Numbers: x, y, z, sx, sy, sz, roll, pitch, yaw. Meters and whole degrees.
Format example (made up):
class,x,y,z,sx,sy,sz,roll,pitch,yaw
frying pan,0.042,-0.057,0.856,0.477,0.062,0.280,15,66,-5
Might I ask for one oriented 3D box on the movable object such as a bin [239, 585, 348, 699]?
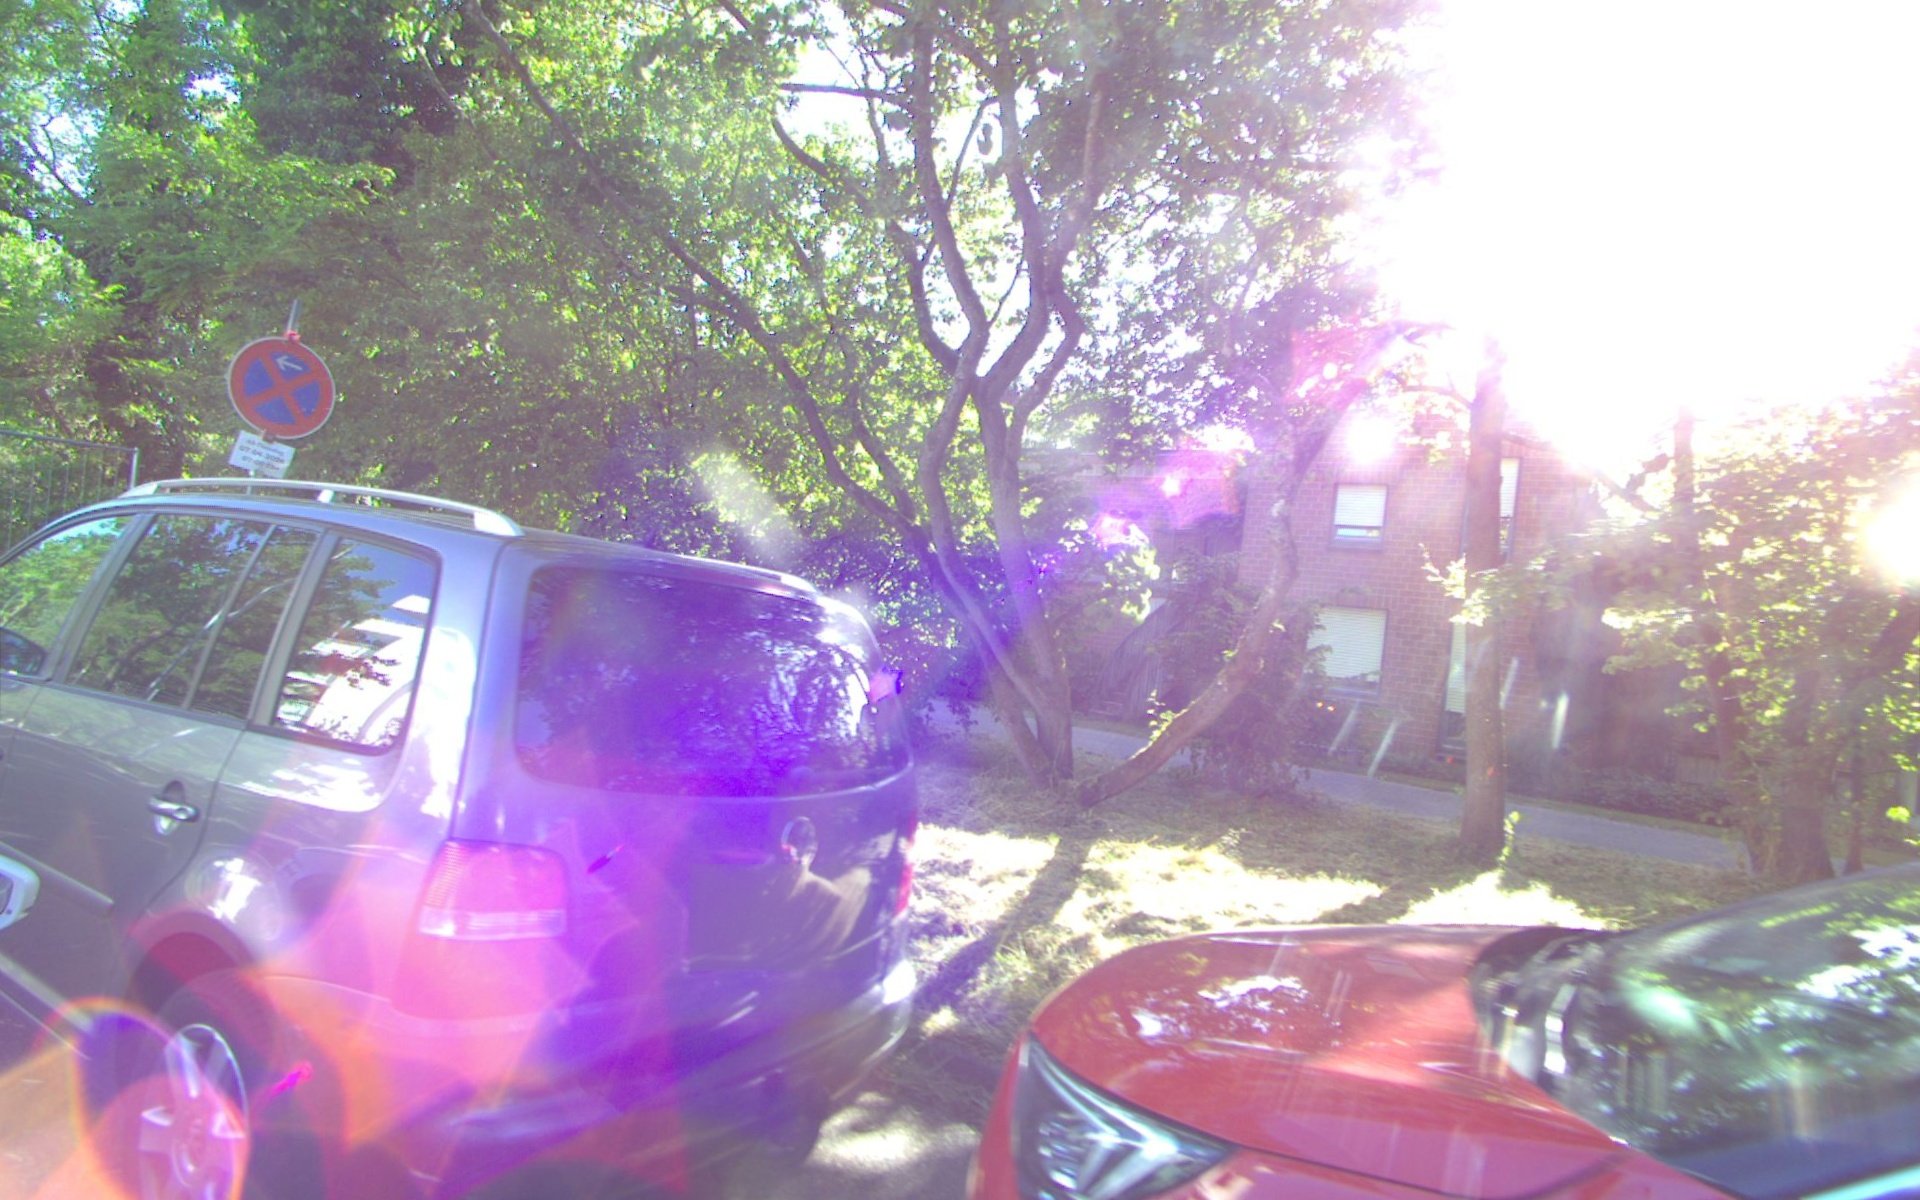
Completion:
class,x,y,z,sx,sy,sz,roll,pitch,yaw
movable object such as a bin,-5.640,0.359,8.516,0.550,0.871,0.485,7,-1,29

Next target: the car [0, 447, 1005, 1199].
class,x,y,z,sx,sy,sz,roll,pitch,yaw
car,-2.119,0.511,3.319,4.068,1.640,1.683,7,-2,31

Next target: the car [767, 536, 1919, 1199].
class,x,y,z,sx,sy,sz,roll,pitch,yaw
car,1.855,0.978,1.019,4.000,1.592,1.682,6,-2,33

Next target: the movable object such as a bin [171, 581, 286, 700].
class,x,y,z,sx,sy,sz,roll,pitch,yaw
movable object such as a bin,-5.875,0.333,8.085,0.550,0.871,0.485,7,-1,29

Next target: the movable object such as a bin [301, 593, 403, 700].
class,x,y,z,sx,sy,sz,roll,pitch,yaw
movable object such as a bin,-5.406,0.417,8.951,0.550,0.871,0.485,7,-1,29
